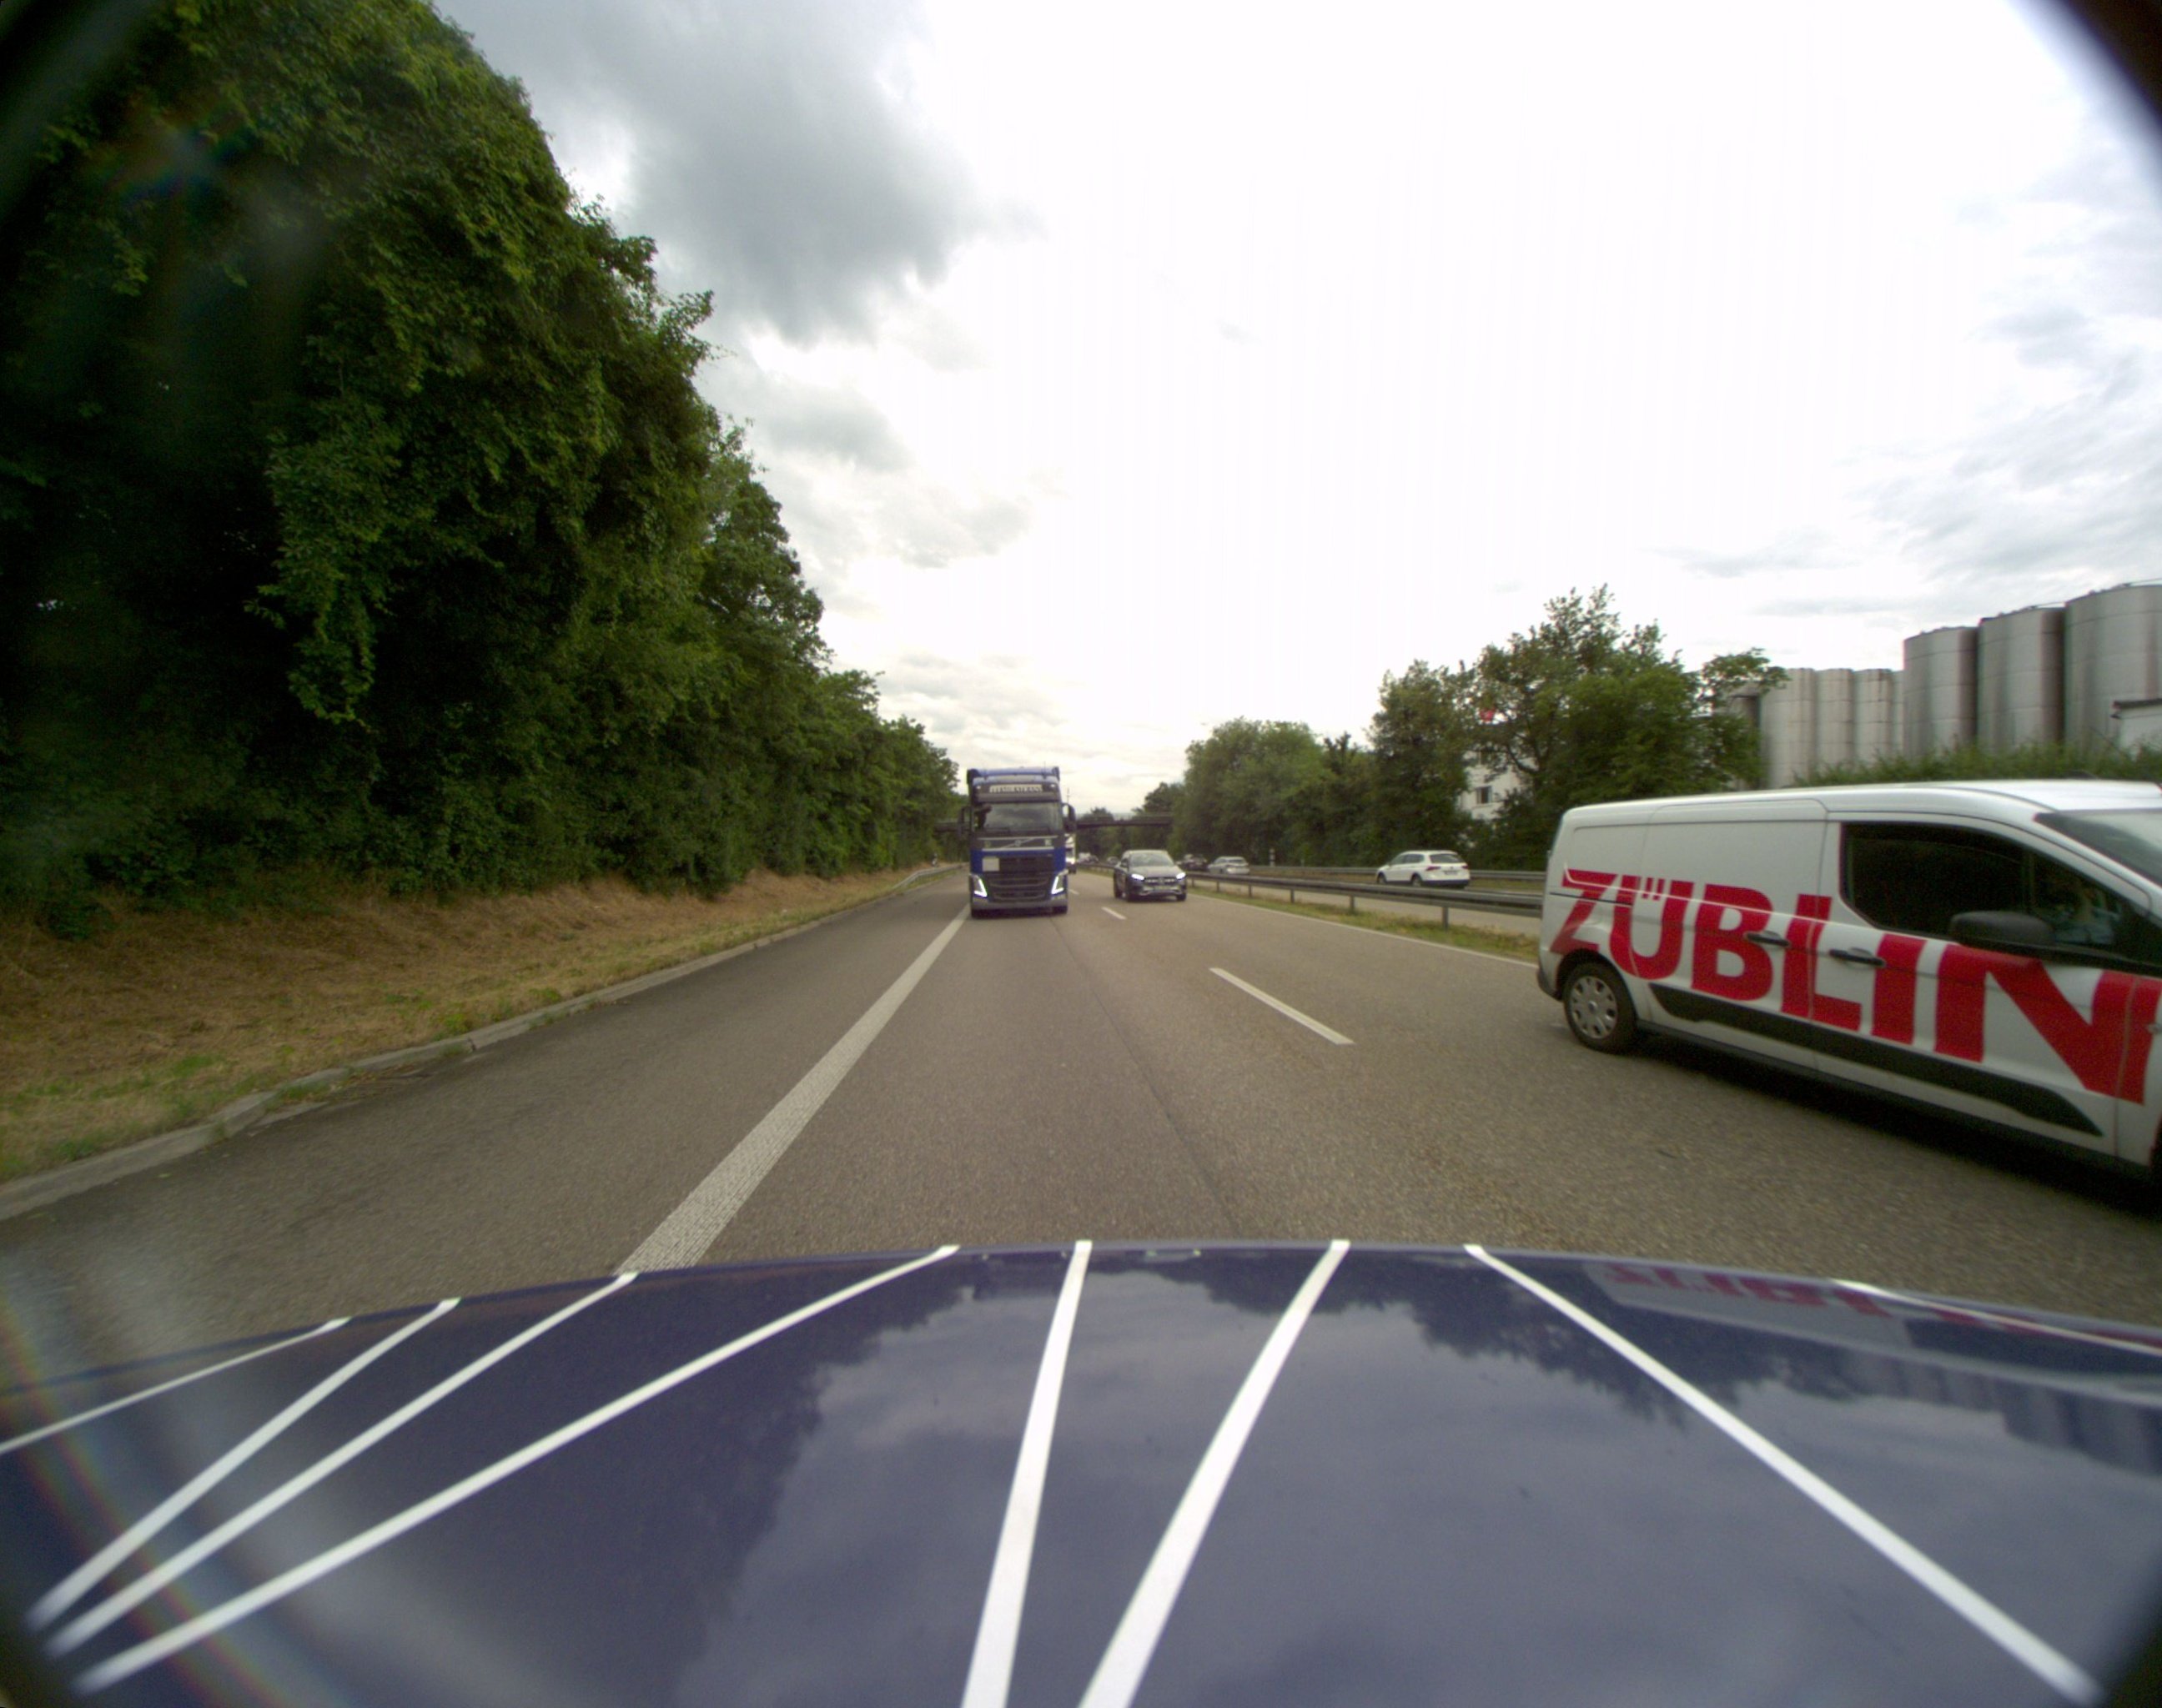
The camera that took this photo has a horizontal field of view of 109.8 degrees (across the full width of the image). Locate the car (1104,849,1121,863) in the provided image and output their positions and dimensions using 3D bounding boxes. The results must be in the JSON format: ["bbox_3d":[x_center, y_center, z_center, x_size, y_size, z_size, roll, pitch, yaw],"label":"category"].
[{"bbox_3d":[4.855,0.308,116.219,2.000,2.002,3.997,-1,0,-6],"label":"car"}]

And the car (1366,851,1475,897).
[{"bbox_3d":[13.549,0.717,30.645,1.732,1.624,4.760,-2,1,-8],"label":"car"}]

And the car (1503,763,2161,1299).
[{"bbox_3d":[4.543,0.600,3.719,1.852,1.839,5.004,-1,0,-5],"label":"car"}]

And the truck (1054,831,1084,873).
[{"bbox_3d":[-1.015,-0.238,63.314,1.999,3.297,5.309,-2,3,-5],"label":"truck"}]

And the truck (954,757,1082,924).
[{"bbox_3d":[-1.791,-0.349,22.078,2.962,3.946,7.467,-2,0,-4],"label":"truck"}]

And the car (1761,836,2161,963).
[{"bbox_3d":[14.341,0.630,12.833,1.579,1.756,4.276,-1,0,-7],"label":"car"}]

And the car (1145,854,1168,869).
[{"bbox_3d":[8.195,0.770,82.825,1.699,1.608,3.997,-1,0,-7],"label":"car"}]

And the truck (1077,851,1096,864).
[{"bbox_3d":[1.055,0.649,152.130,2.697,2.566,9.203,-1,0,-6],"label":"truck"}]

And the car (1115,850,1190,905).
[{"bbox_3d":[2.233,0.701,24.706,1.849,1.641,3.999,-1,0,-3],"label":"car"}]

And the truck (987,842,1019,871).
[{"bbox_3d":[-9.110,0.206,88.249,3.367,3.099,7.235,-2,1,-7],"label":"truck"}]

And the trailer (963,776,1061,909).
[{"bbox_3d":[-2.630,-0.415,29.965,2.846,4.013,13.079,-2,1,-5],"label":"trailer"}]

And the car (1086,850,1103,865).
[{"bbox_3d":[1.951,0.489,109.976,2.000,2.002,3.997,-1,0,-6],"label":"car"}]

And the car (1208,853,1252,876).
[{"bbox_3d":[10.055,0.677,51.578,1.610,1.447,3.996,-1,0,-10],"label":"car"}]

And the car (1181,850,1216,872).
[{"bbox_3d":[10.038,0.604,65.236,1.781,1.740,3.996,-2,1,-9],"label":"car"}]
